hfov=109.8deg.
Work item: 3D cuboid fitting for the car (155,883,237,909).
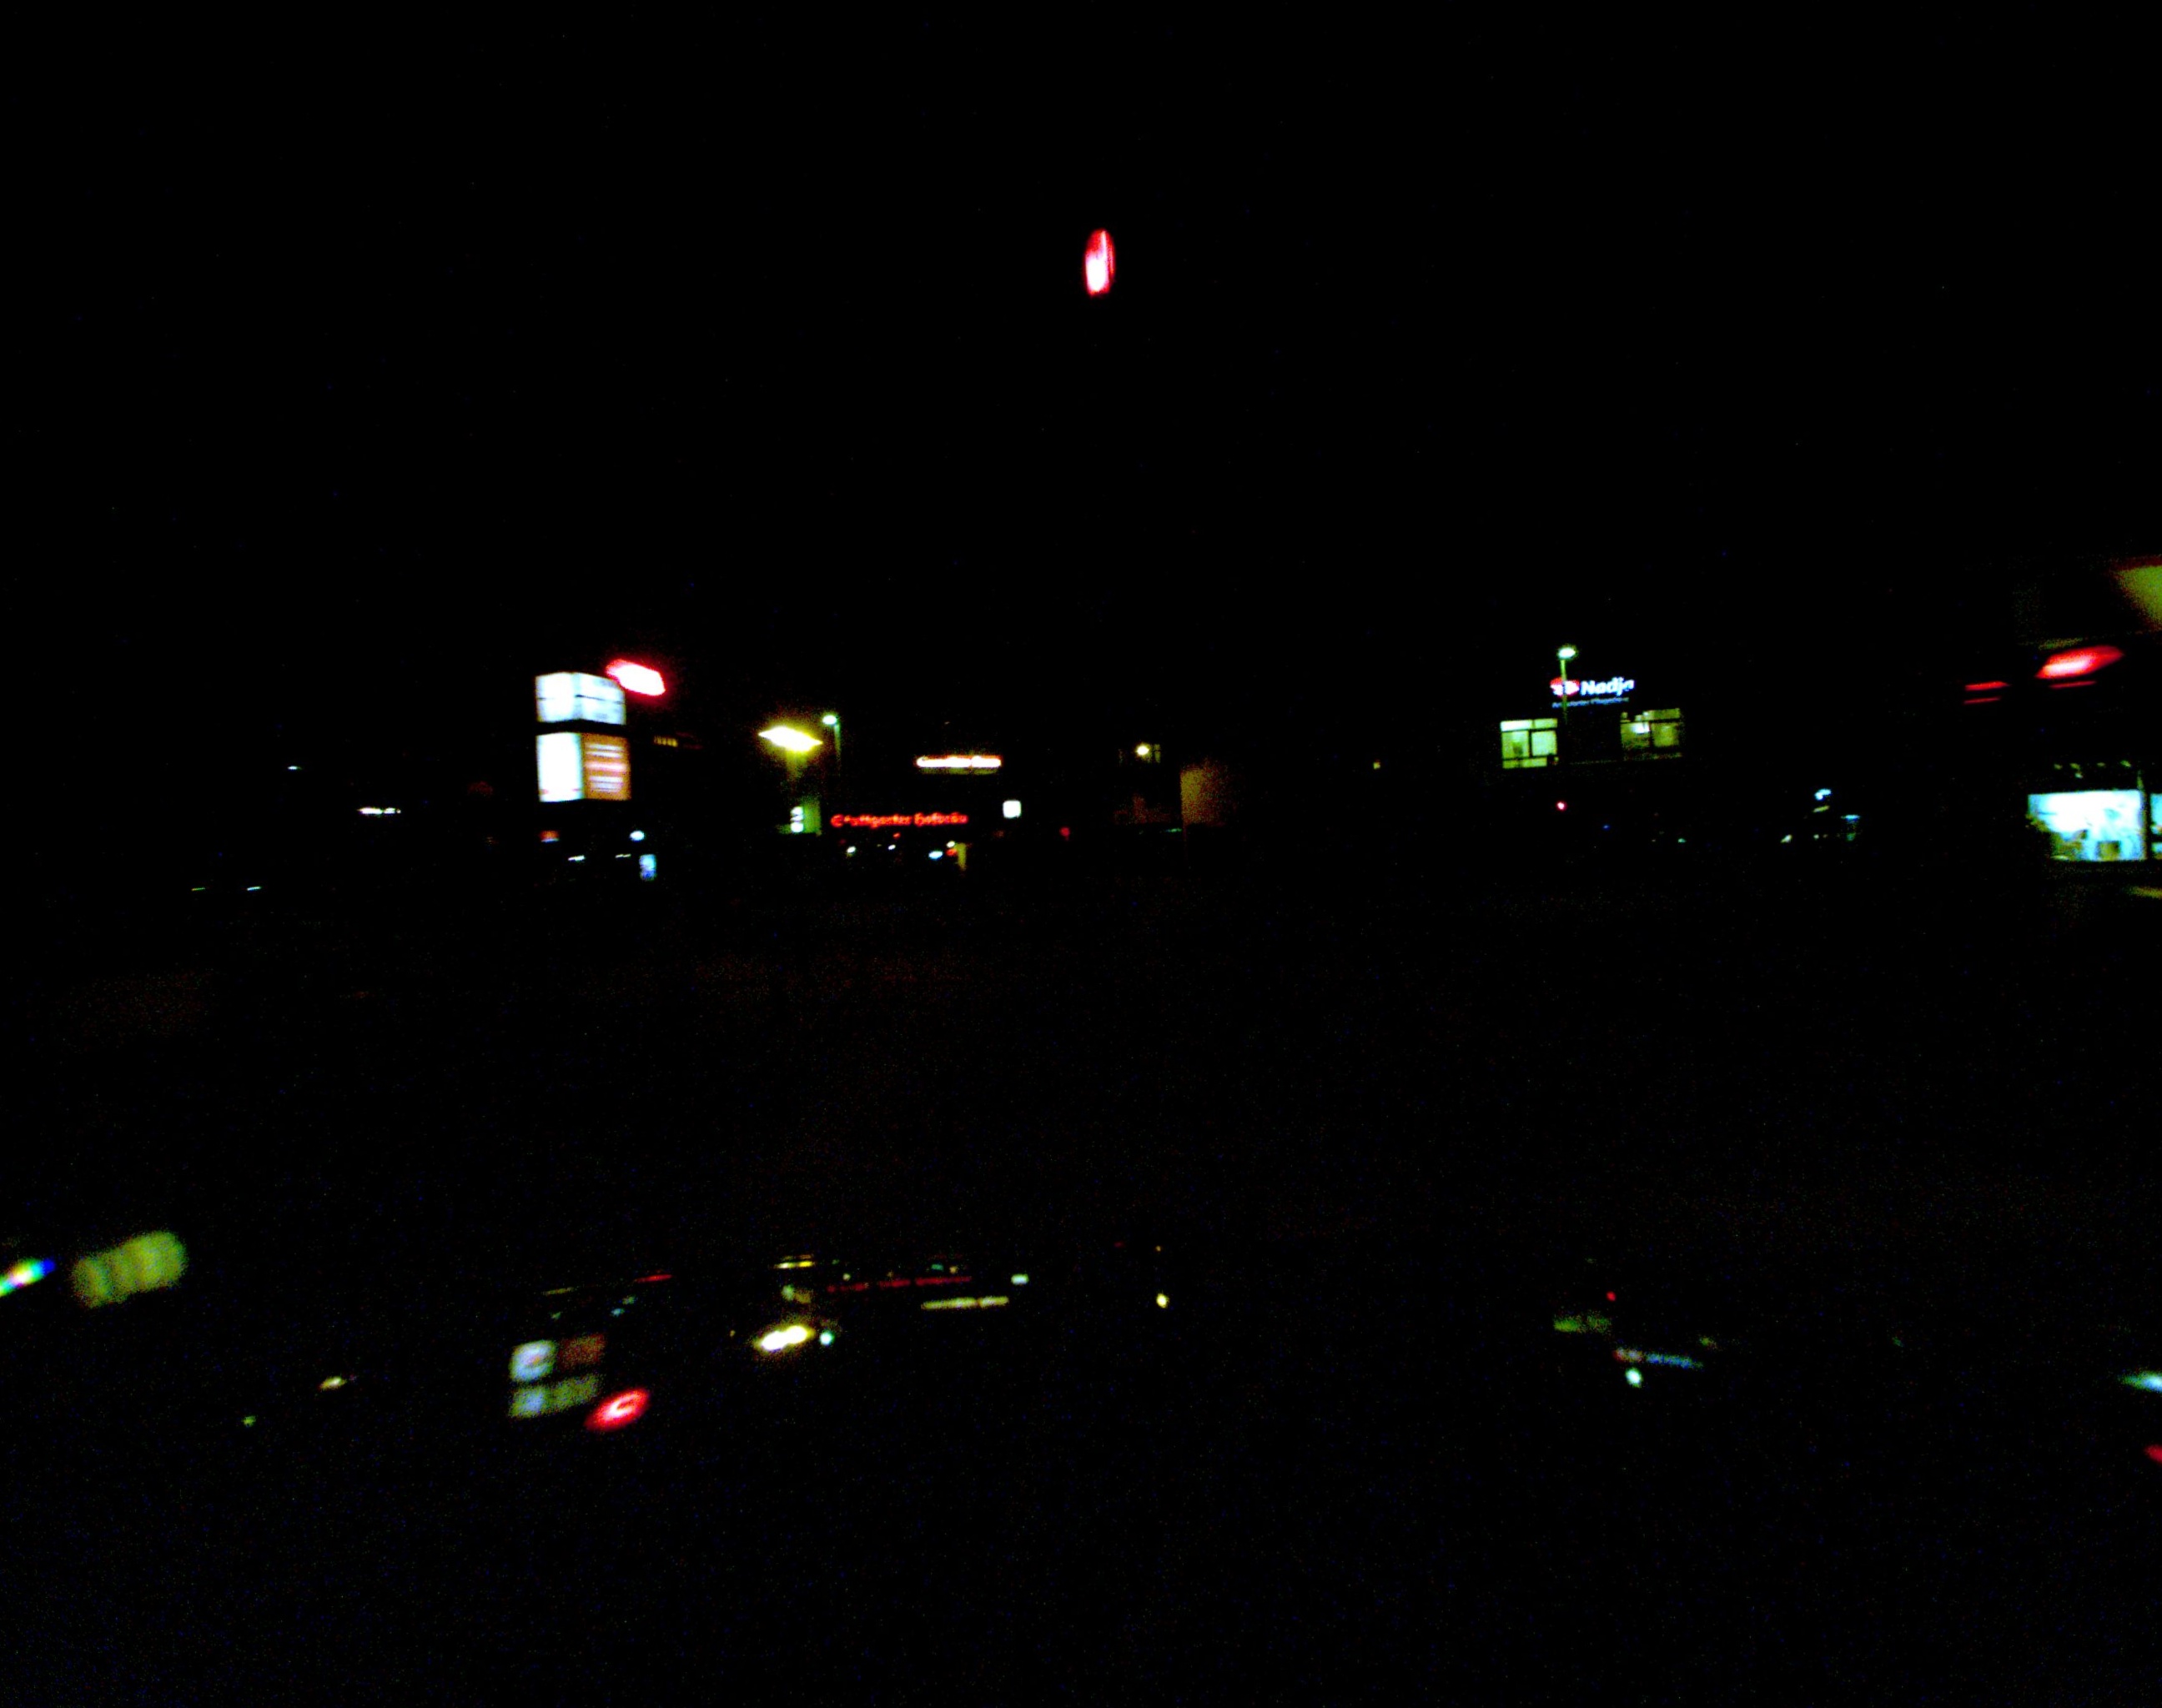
[{"bbox_3d":[-53.025,2.505,45.541,3.887,1.444,1.898,-2,-1,19],"label":"car"}]

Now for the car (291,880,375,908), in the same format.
[{"bbox_3d":[-41.275,2.188,41.919,3.886,1.444,1.898,-2,-1,22],"label":"car"}]

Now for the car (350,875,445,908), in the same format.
[{"bbox_3d":[-36.610,1.992,40.721,3.856,1.643,1.877,-2,-1,12],"label":"car"}]

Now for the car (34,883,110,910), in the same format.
[{"bbox_3d":[-65.757,2.752,49.535,3.886,1.616,2.016,-2,-1,22],"label":"car"}]

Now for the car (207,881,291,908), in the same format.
[{"bbox_3d":[-48.424,2.374,44.254,3.887,1.444,1.898,-2,-1,19],"label":"car"}]
